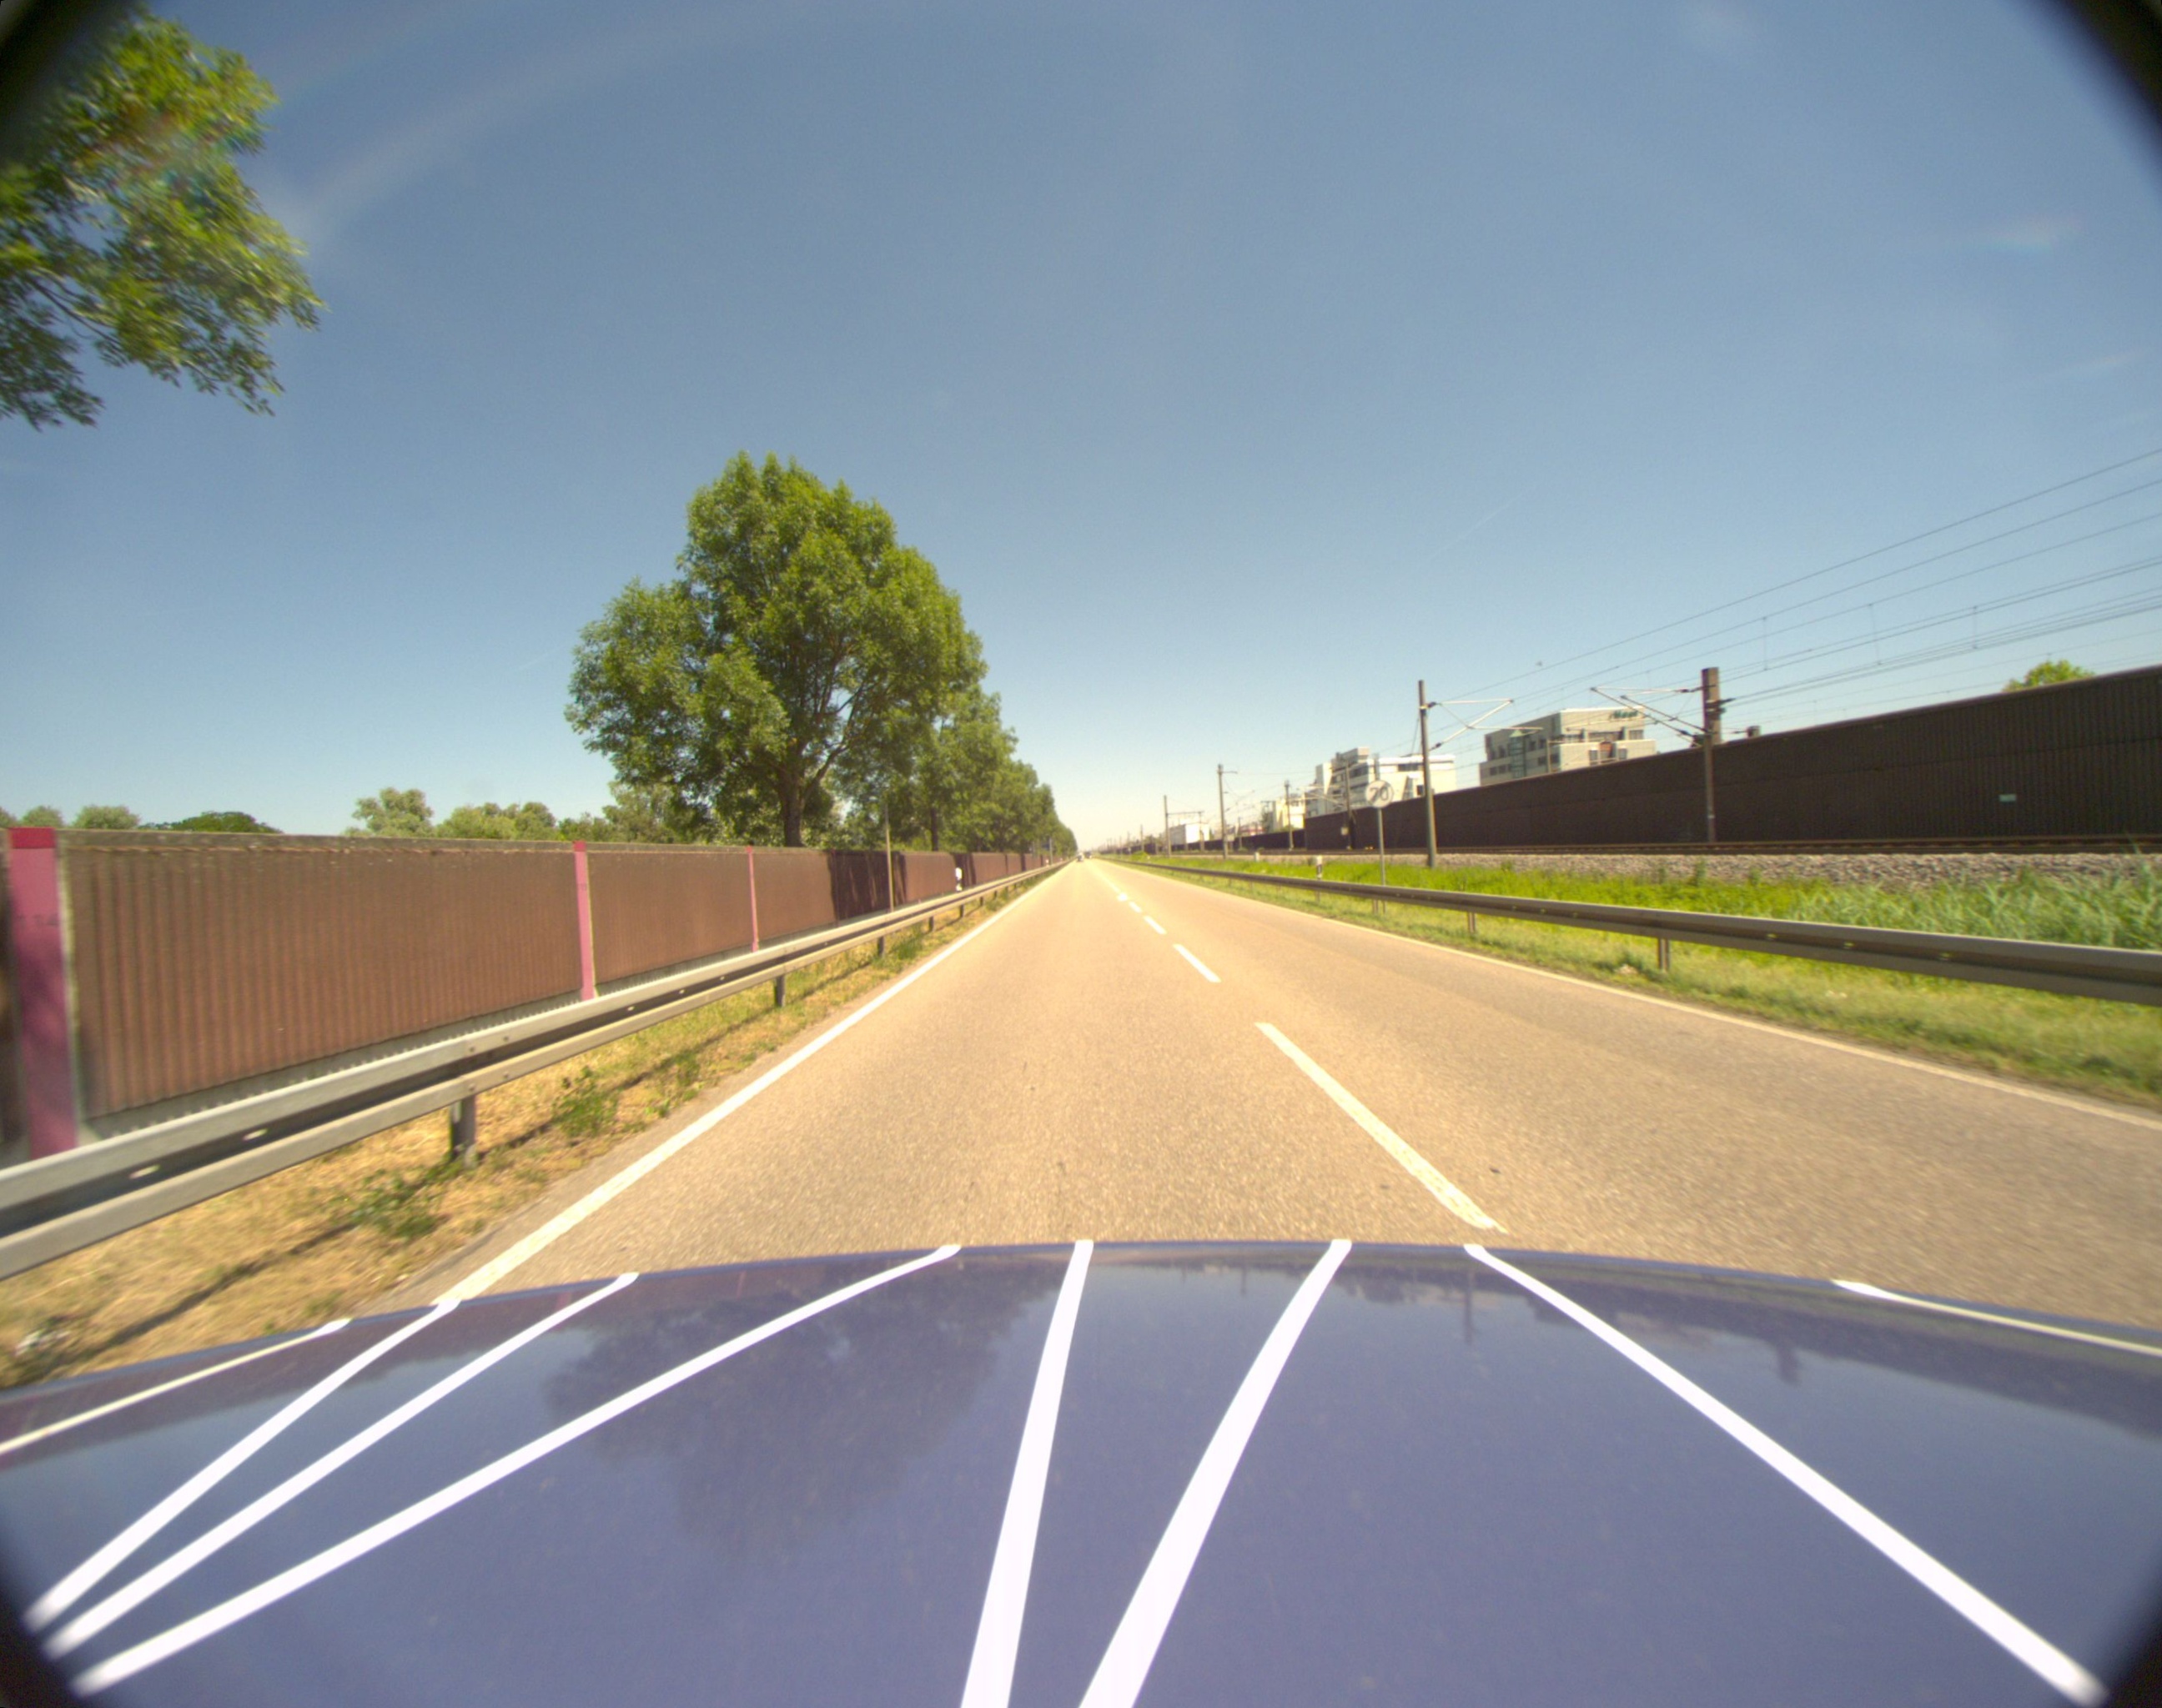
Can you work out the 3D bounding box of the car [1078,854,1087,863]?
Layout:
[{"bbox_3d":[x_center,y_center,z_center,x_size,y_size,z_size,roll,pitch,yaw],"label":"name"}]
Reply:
[{"bbox_3d":[0.415,1.115,194.423,1.998,2.002,4.001,-2,0,3],"label":"car"}]
